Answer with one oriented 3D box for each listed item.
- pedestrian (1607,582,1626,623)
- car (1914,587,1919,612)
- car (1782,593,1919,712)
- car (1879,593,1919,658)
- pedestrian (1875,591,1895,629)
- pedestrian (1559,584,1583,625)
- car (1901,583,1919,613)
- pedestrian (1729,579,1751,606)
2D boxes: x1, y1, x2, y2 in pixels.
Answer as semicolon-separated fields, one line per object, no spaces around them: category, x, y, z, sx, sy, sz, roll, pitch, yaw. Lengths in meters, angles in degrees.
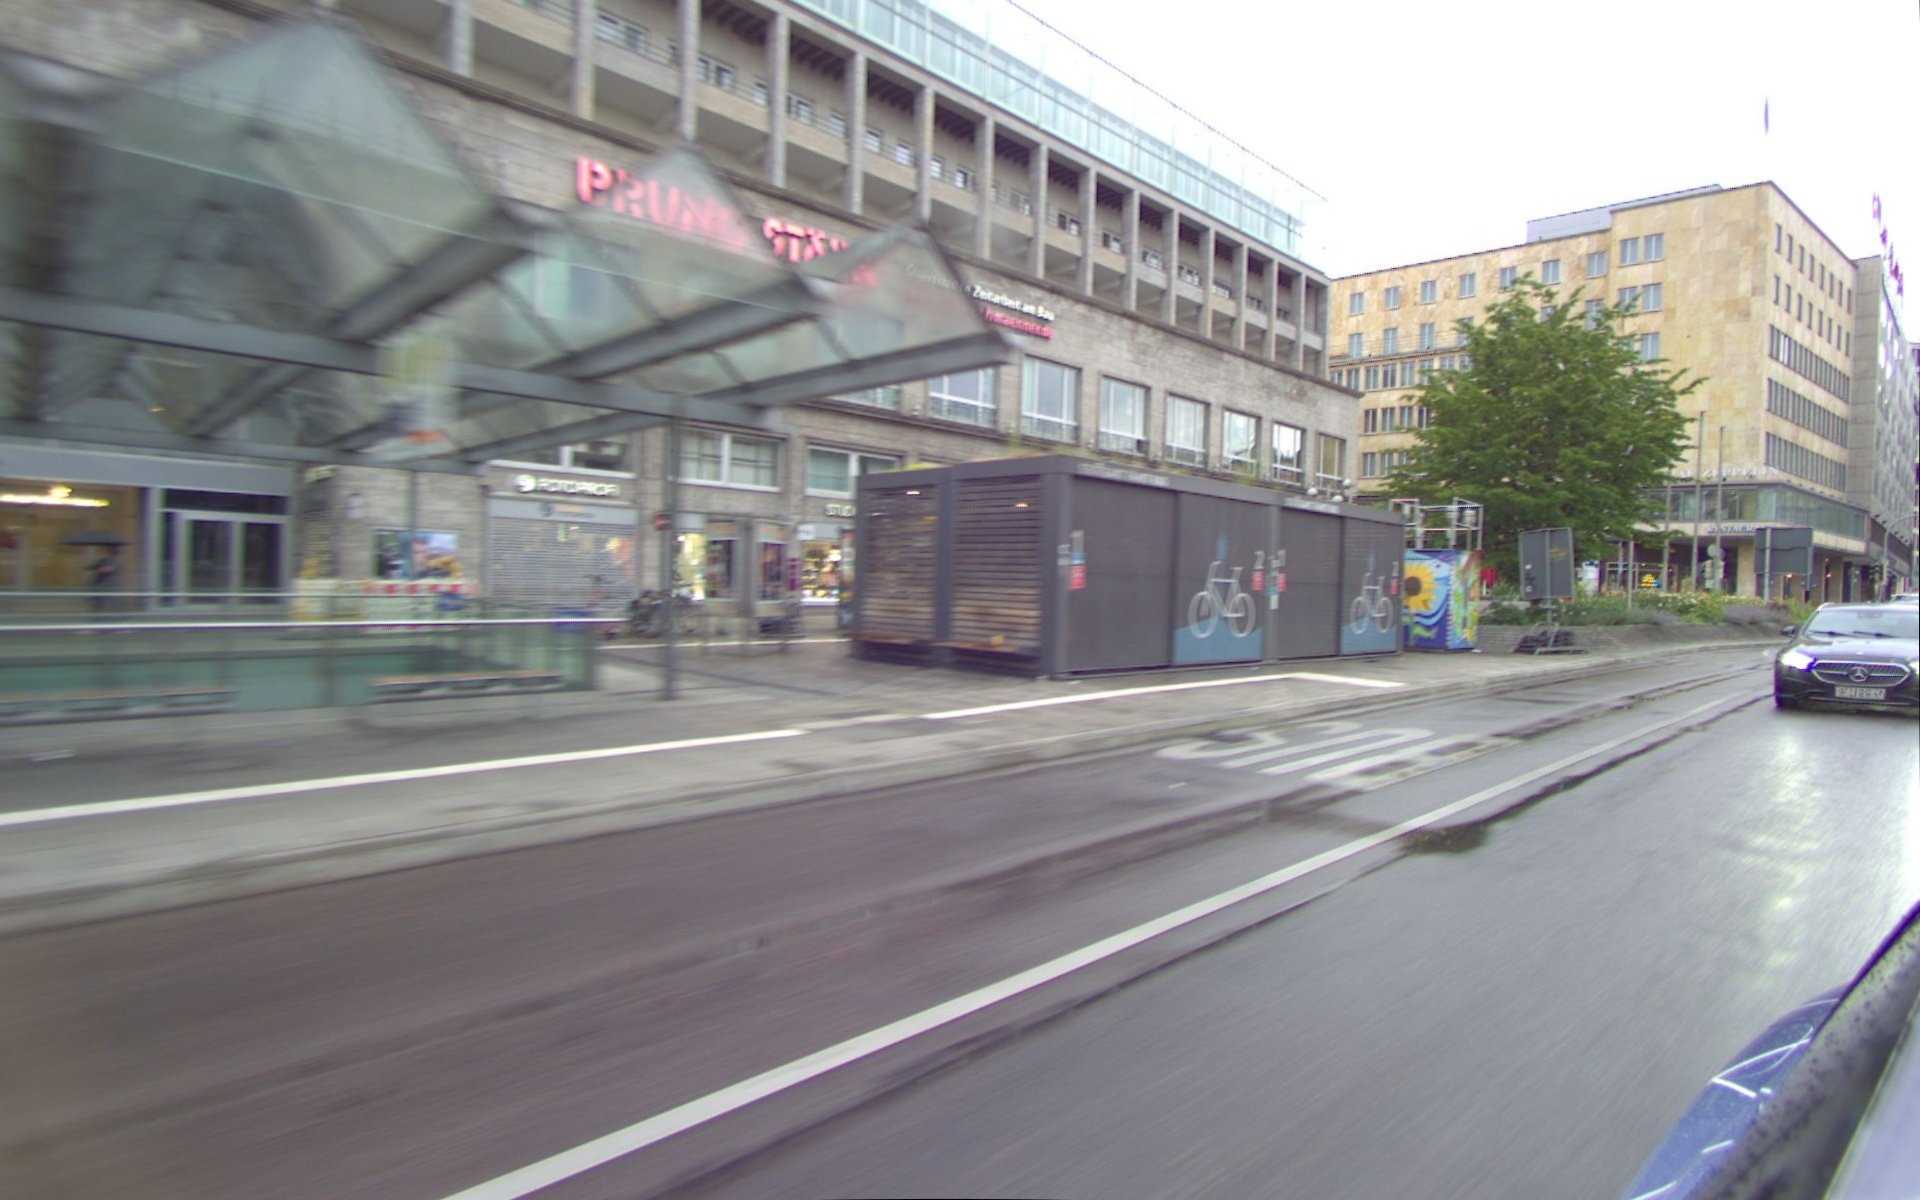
pedestrian;29.683;0.115;45.753;0.669;1.812;0.536;0;1;-40
car;68.683;-0.024;71.189;5.049;1.674;1.996;0;2;-43
car;13.418;0.644;14.630;4.621;1.482;1.820;0;1;-43
car;24.287;0.607;25.125;4.095;1.527;1.874;0;2;-43
pedestrian;47.047;0.503;51.469;0.779;1.943;0.673;0;1;-43
pedestrian;26.801;0.204;44.382;0.697;1.773;0.824;1;1;44
car;64.342;-0.130;67.458;4.913;1.908;1.996;0;2;-43
pedestrian;54.250;-0.523;70.403;1.090;1.870;1.000;-1;2;-41
